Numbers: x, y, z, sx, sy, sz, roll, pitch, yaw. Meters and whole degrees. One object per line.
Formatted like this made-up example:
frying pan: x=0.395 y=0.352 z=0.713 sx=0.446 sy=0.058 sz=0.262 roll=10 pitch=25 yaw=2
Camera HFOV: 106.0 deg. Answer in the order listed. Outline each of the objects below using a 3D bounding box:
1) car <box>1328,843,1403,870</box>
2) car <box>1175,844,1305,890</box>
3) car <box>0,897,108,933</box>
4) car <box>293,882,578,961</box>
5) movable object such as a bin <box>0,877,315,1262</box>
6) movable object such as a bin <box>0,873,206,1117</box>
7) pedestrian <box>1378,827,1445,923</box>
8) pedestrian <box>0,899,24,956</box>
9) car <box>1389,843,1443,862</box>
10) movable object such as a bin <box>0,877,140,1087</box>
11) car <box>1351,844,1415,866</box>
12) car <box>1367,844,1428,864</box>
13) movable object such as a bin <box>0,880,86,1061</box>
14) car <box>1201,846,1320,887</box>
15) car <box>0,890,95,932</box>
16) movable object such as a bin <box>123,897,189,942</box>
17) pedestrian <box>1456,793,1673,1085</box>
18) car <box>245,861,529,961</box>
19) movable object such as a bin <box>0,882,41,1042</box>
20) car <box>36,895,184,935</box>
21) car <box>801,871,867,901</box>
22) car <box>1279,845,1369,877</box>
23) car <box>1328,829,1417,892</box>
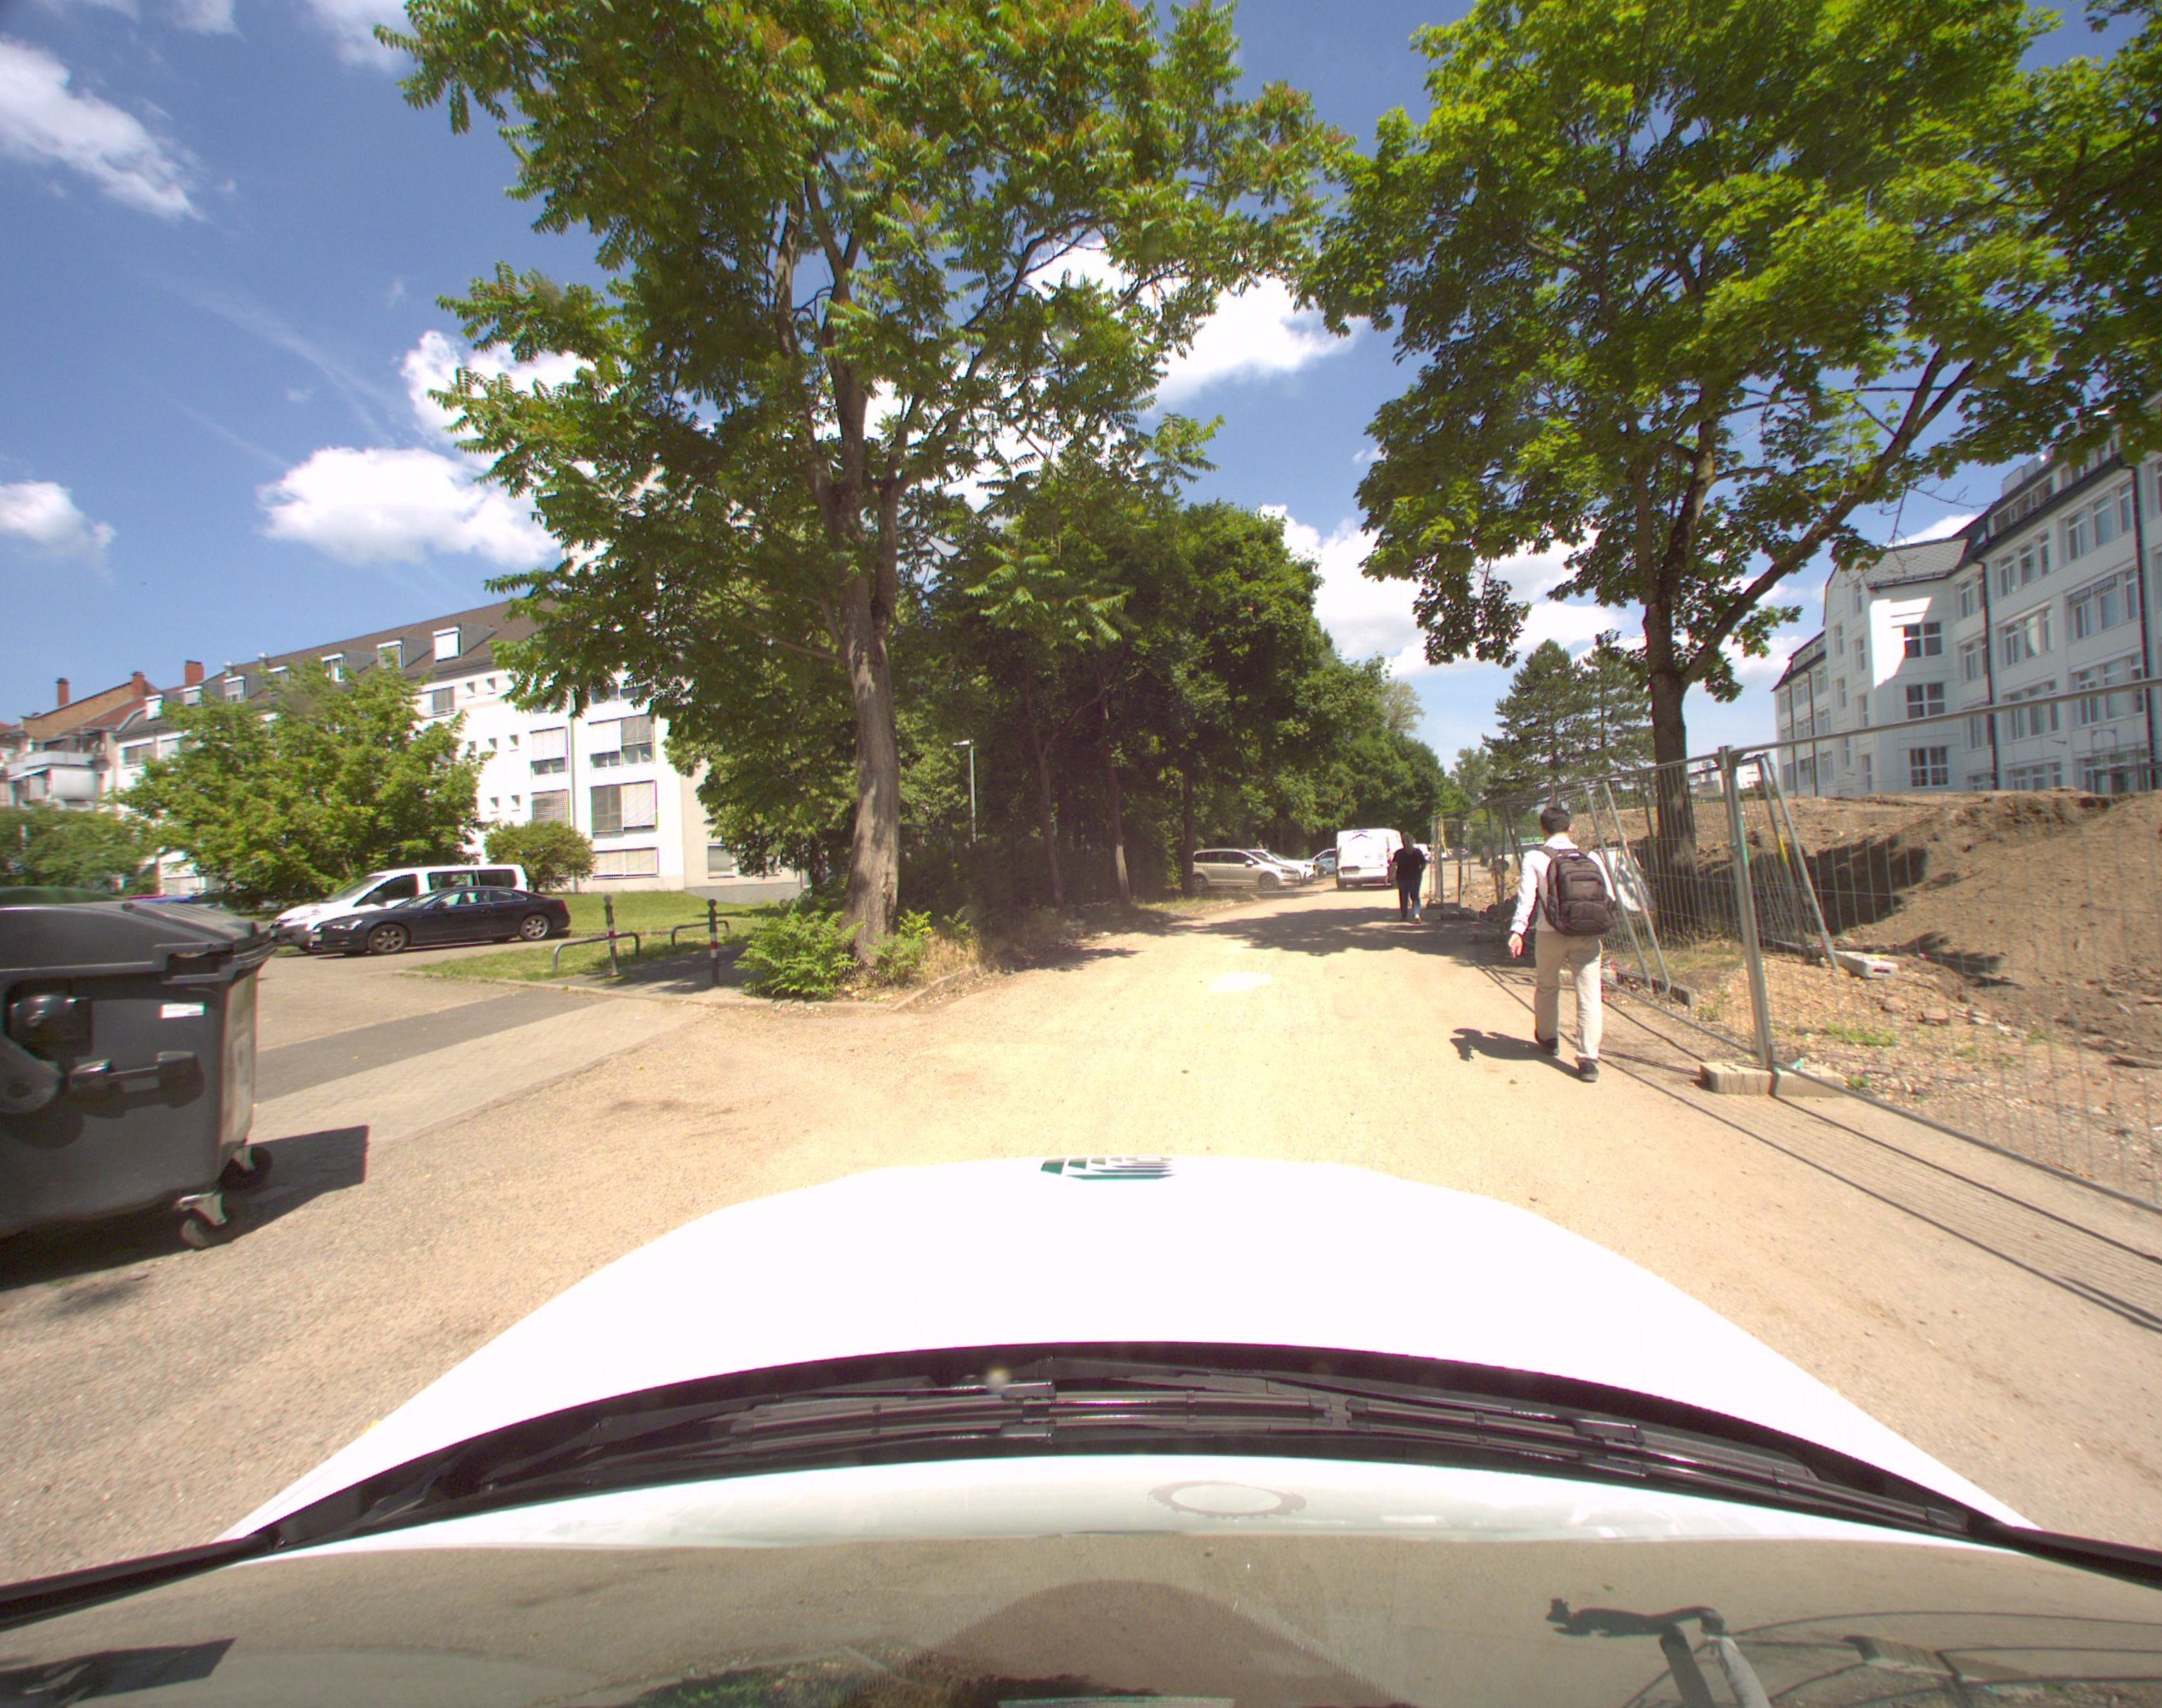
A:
car: x=18.969 y=0.185 z=54.410 sx=4.463 sy=1.597 sz=1.736 roll=-2 pitch=0 yaw=28
car: x=6.146 y=0.535 z=31.574 sx=4.462 sy=1.609 sz=2.012 roll=-2 pitch=-3 yaw=29
car: x=-52.788 y=3.099 z=41.352 sx=1.781 sy=1.534 sz=4.024 roll=-2 pitch=0 yaw=27
car: x=-14.213 y=1.407 z=18.288 sx=1.810 sy=1.352 sz=4.655 roll=-2 pitch=0 yaw=29
movable object such as a bin: x=-4.249 y=0.828 z=3.593 sx=1.121 sy=1.394 sz=1.147 roll=-2 pitch=0 yaw=-38
movable object such as a bin: x=-7.180 y=0.911 z=5.601 sx=1.308 sy=1.479 sz=1.215 roll=-2 pitch=0 yaw=26
pedestrian: x=5.974 y=0.372 z=14.759 sx=1.026 sy=1.650 sz=1.054 roll=-2 pitch=0 yaw=21
pedestrian: x=-34.573 y=2.356 z=26.084 sx=0.742 sy=1.755 sz=0.764 roll=-2 pitch=-1 yaw=30
car: x=31.518 y=-0.158 z=76.578 sx=4.463 sy=1.597 sz=1.736 roll=-2 pitch=0 yaw=28
movable object such as a bin: x=-8.357 y=0.954 z=6.189 sx=1.345 sy=1.479 sz=1.102 roll=-2 pitch=0 yaw=18
car: x=23.504 y=0.093 z=63.368 sx=4.463 sy=1.598 sz=1.736 roll=-2 pitch=-1 yaw=28
car: x=26.342 y=0.003 z=67.753 sx=4.463 sy=1.547 sz=1.736 roll=-2 pitch=0 yaw=28
movable object such as a bin: x=-9.521 y=0.996 z=6.961 sx=1.246 sy=1.479 sz=1.054 roll=-2 pitch=0 yaw=29
car: x=7.406 y=0.522 z=33.790 sx=4.463 sy=1.531 sz=1.736 roll=-2 pitch=0 yaw=28
car: x=-55.557 y=2.993 z=42.563 sx=2.050 sy=1.958 sz=4.721 roll=-2 pitch=0 yaw=27
movable object such as a bin: x=-30.292 y=2.127 z=26.672 sx=1.145 sy=1.326 sz=1.228 roll=-2 pitch=0 yaw=31
pedestrian: x=3.139 y=0.514 z=5.419 sx=0.868 sy=1.729 sz=1.083 roll=-2 pitch=0 yaw=10
car: x=-16.505 y=1.252 z=19.700 sx=1.974 sy=2.014 sz=4.804 roll=-3 pitch=-1 yaw=29
movable object such as a bin: x=-10.820 y=1.043 z=7.657 sx=1.392 sy=1.479 sz=1.054 roll=-2 pitch=0 yaw=29
car: x=-44.234 y=2.761 z=37.205 sx=1.781 sy=1.478 sz=4.024 roll=-2 pitch=0 yaw=27
car: x=-14.900 y=1.939 z=49.330 sx=1.652 sy=1.621 sz=3.651 roll=-2 pitch=0 yaw=29
car: x=13.406 y=0.371 z=44.957 sx=4.463 sy=1.597 sz=1.736 roll=-2 pitch=0 yaw=28
car: x=10.119 y=0.198 z=28.042 sx=1.954 sy=1.947 sz=4.610 roll=-2 pitch=0 yaw=31
